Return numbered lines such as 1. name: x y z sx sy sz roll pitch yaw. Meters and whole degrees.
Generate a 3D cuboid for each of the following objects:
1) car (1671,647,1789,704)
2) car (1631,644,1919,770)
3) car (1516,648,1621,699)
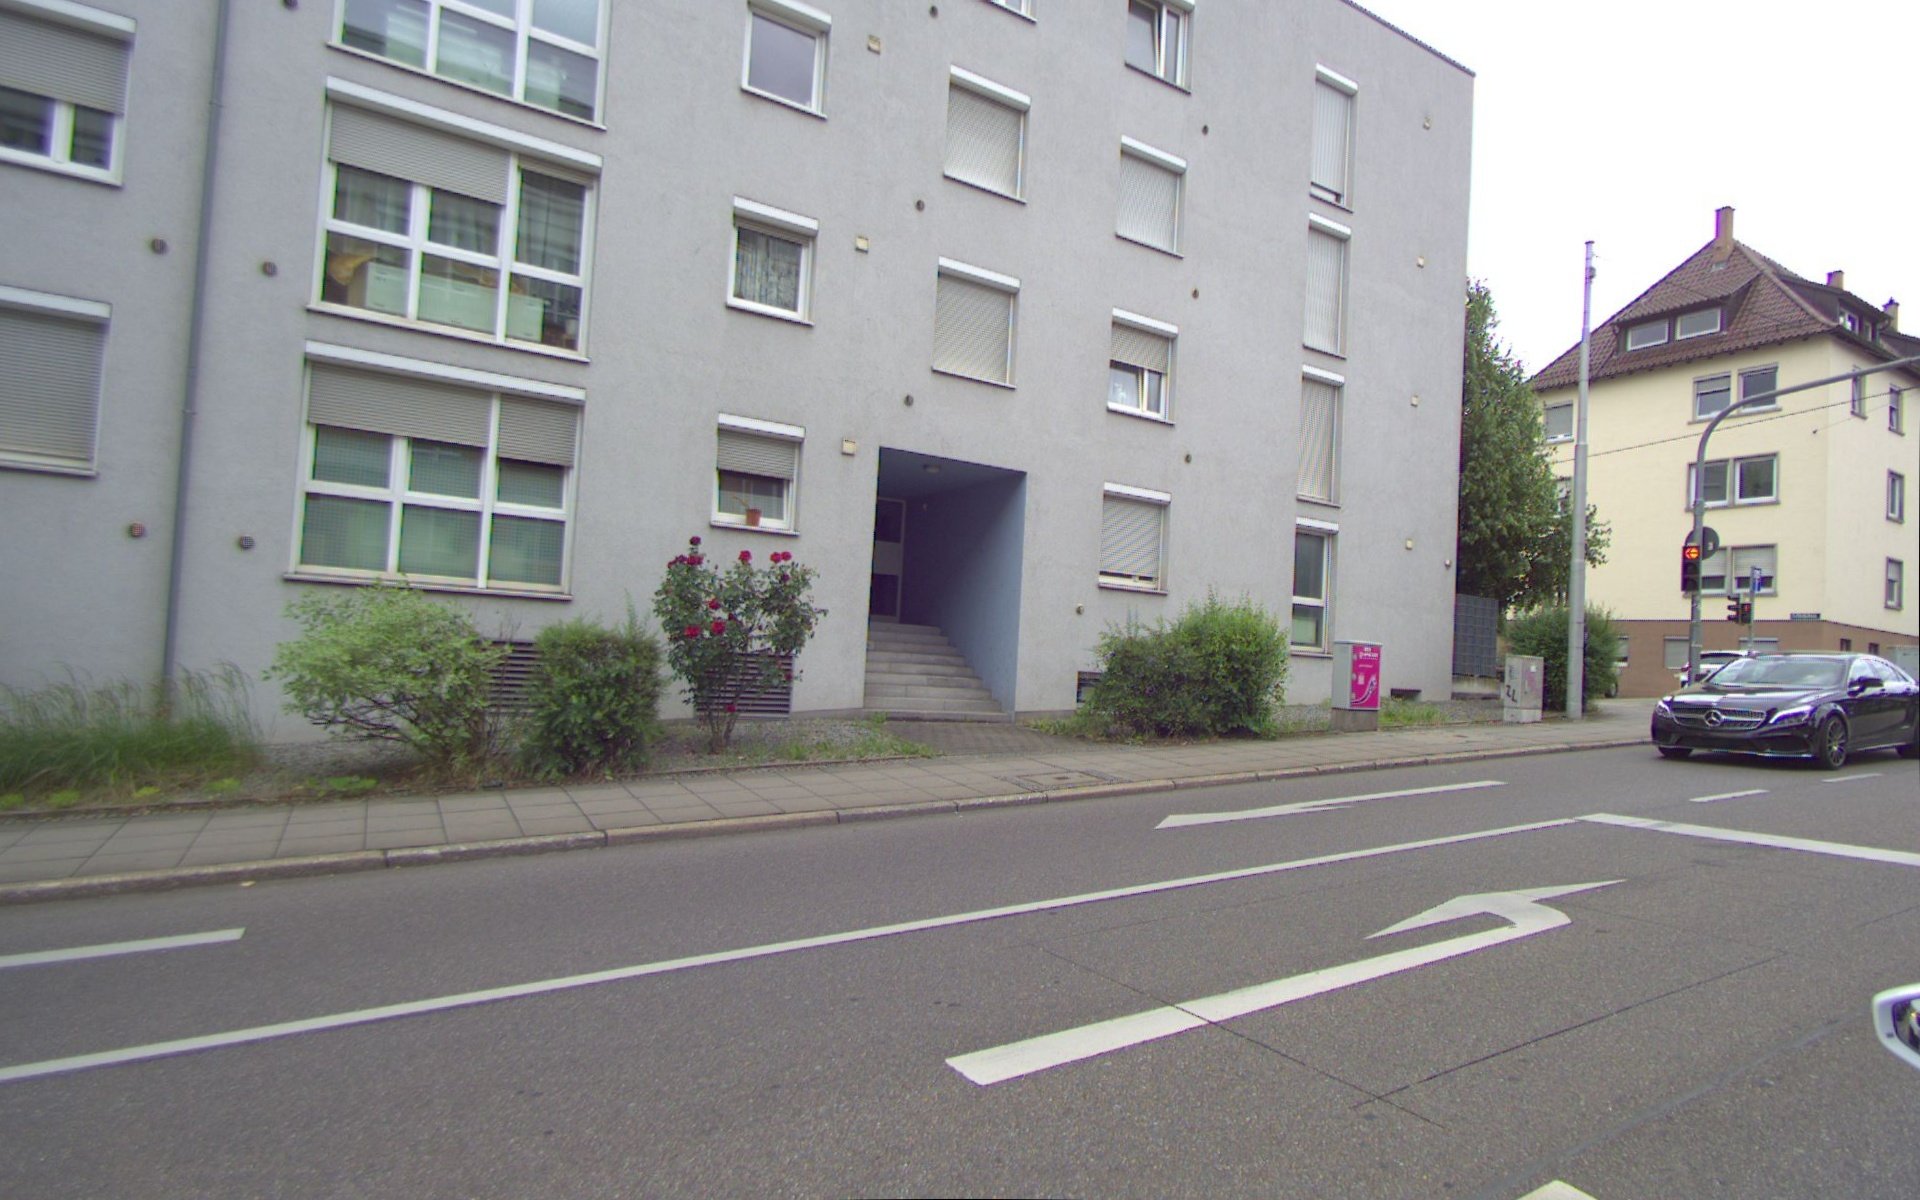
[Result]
1. car: 22.997 2.203 29.965 3.727 1.575 1.681 1 -4 -34
2. car: 11.209 1.327 13.475 4.614 1.437 1.778 1 -4 -30
3. car: 20.934 2.491 34.534 3.727 1.629 1.681 1 -4 -34
